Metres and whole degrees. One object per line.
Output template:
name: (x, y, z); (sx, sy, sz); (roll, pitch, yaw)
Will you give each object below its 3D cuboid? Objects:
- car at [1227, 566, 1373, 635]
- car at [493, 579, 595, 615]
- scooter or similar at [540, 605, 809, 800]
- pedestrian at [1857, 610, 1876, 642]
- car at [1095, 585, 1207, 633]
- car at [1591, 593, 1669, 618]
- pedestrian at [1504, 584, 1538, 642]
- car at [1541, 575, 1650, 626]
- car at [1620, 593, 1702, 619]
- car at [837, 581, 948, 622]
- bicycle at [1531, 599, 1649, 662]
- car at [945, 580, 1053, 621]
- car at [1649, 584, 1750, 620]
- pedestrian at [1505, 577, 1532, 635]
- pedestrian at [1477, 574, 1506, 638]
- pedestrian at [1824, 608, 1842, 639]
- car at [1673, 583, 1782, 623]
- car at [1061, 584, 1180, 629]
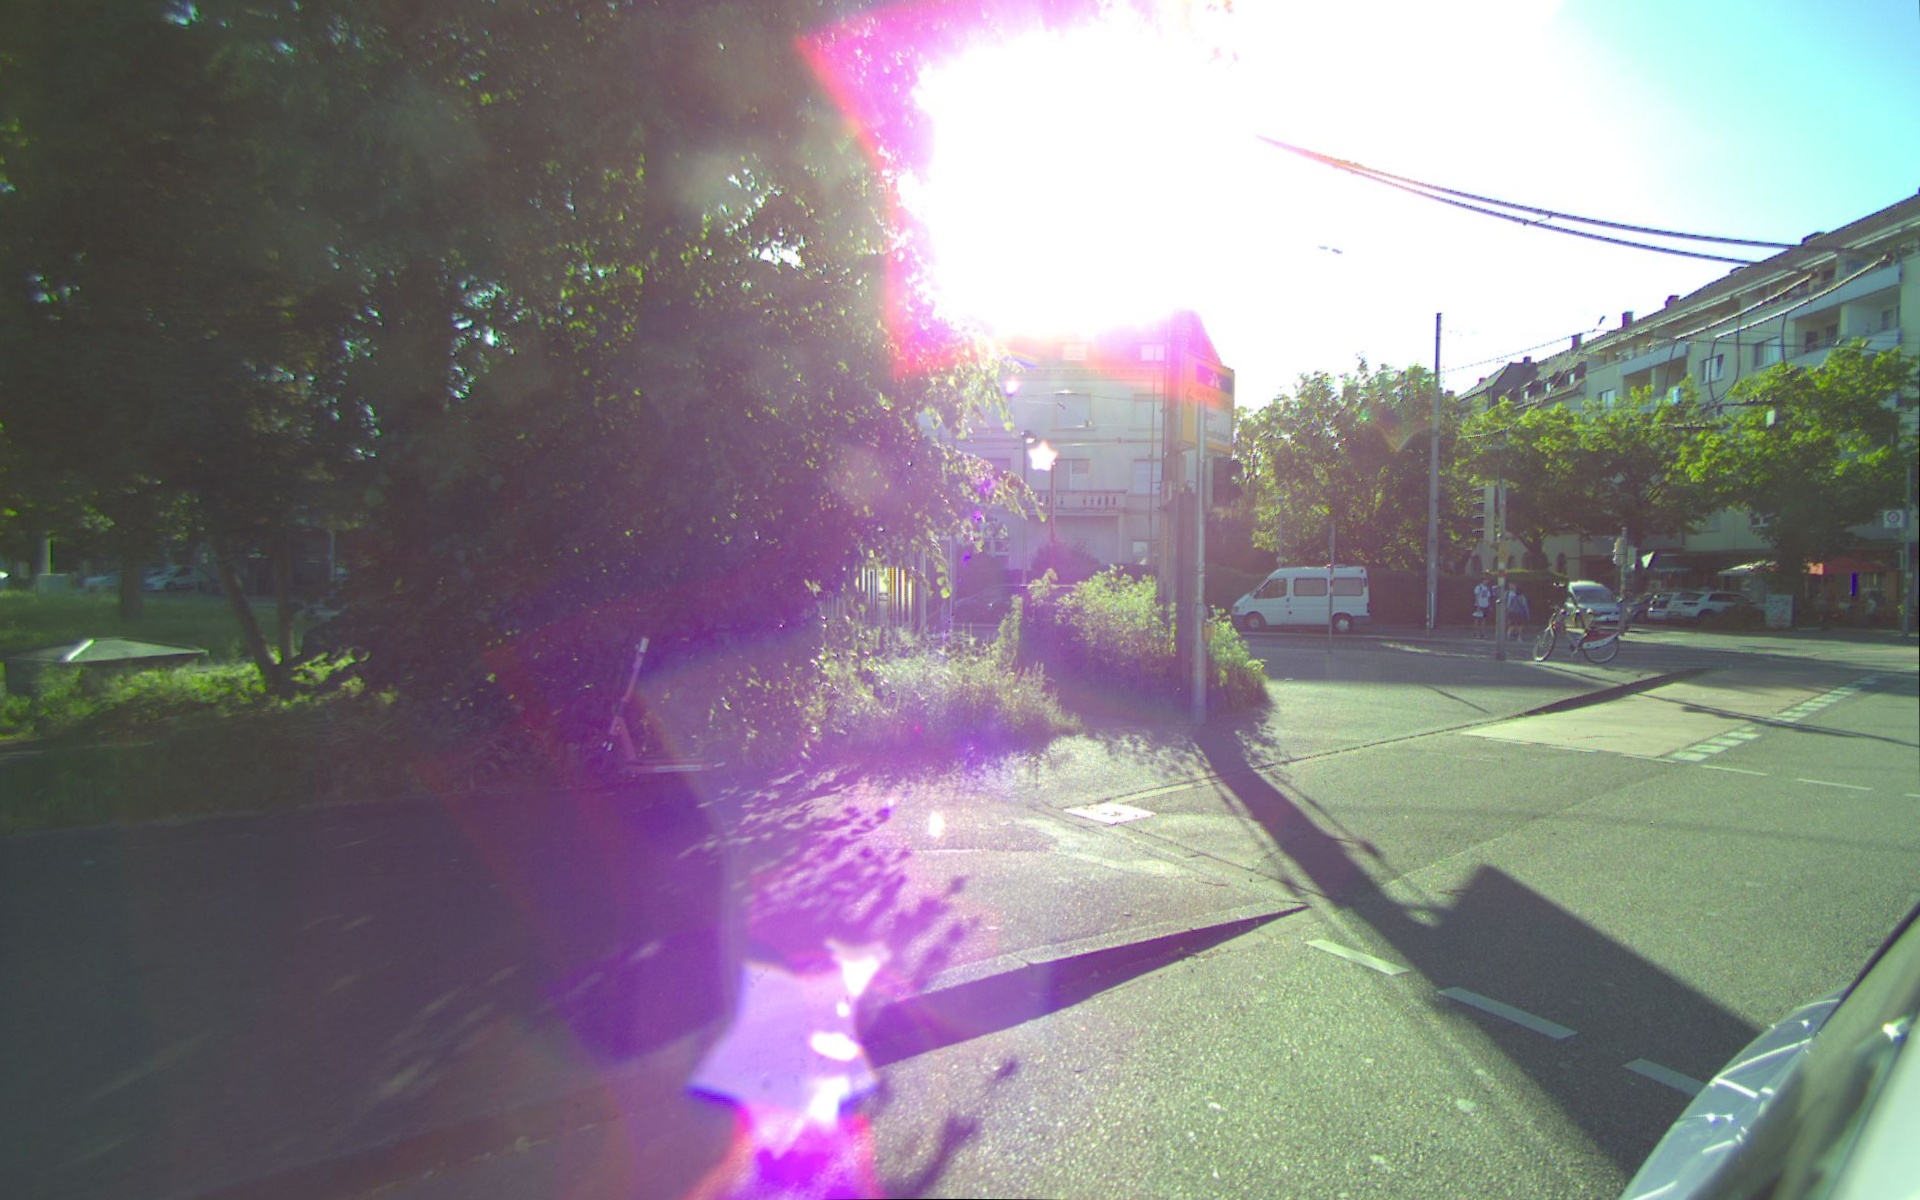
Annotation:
car: (11.296, 0.012, 33.837); (4.497, 2.204, 1.940); (0, 0, 19)
car: (-19.151, -0.132, 46.635); (4.321, 1.446, 1.681); (-2, 0, 19)
scooter or similar: (-1.972, 0.670, 7.186); (1.800, 1.233, 0.385); (1, 1, -40)
pedestrian: (36.452, 1.046, 40.701); (0.483, 1.293, 0.385); (1, -2, -24)
car: (6.815, 0.303, 36.015); (3.726, 1.624, 1.960); (0, 0, 19)
car: (32.086, 0.266, 48.505); (2.751, 1.096, 1.323); (-2, 0, 10)
pedestrian: (15.932, 0.372, 28.742); (0.663, 1.612, 0.724); (-2, -1, 18)
car: (24.878, 0.020, 39.821); (1.824, 1.829, 4.213); (-2, 0, 5)
car: (32.291, 0.258, 46.677); (2.751, 1.096, 1.323); (-2, 0, 10)
car: (-2.678, 0.051, 40.204); (3.930, 1.450, 1.960); (-2, 0, 19)
bicycle: (11.858, 0.567, 19.093); (1.775, 1.141, 0.627); (0, -1, 7)
car: (1.513, 0.022, 38.514); (3.726, 1.485, 1.960); (0, 0, 19)
car: (32.549, 0.093, 44.605); (3.146, 1.420, 1.575); (-2, 0, 10)
pedestrian: (17.200, 0.193, 31.197); (0.547, 1.758, 0.625); (-2, -1, 18)
pedestrian: (16.477, 0.174, 31.390); (0.586, 1.955, 0.849); (-2, -1, 18)
pedestrian: (37.456, 1.008, 43.433); (0.483, 1.293, 0.385); (1, -2, -24)
car: (31.776, 0.120, 41.980); (3.146, 1.506, 1.575); (-2, 0, 10)
car: (5.336, 0.212, 33.487); (3.643, 1.414, 1.887); (0, 0, 19)
